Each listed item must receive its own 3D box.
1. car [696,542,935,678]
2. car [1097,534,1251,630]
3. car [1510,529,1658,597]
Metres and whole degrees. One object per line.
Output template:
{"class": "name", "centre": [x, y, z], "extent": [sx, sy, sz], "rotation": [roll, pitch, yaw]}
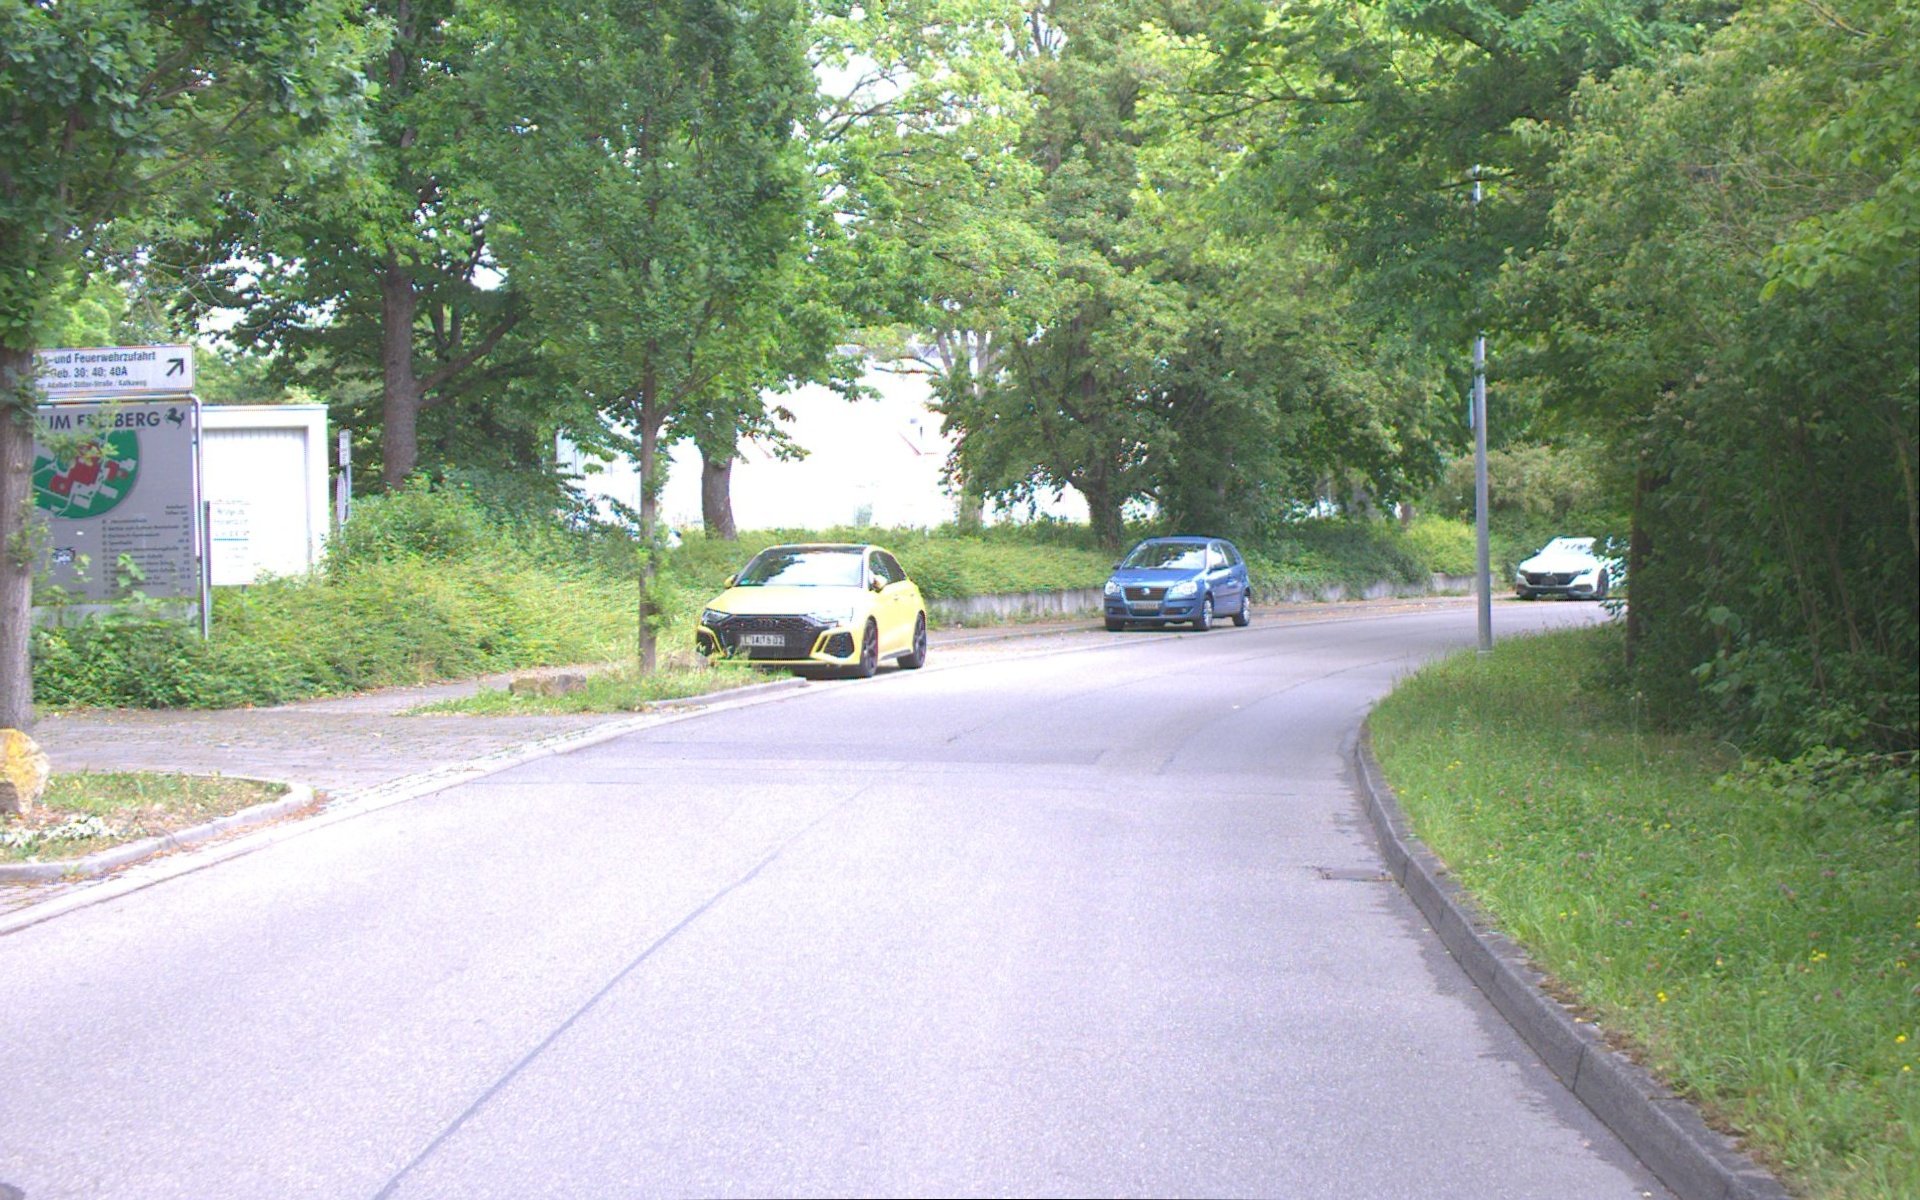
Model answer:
{"class": "car", "centre": [-1.517, 0.075, 37.662], "extent": [1.701, 1.398, 4.271], "rotation": [0, 1, 11]}
{"class": "car", "centre": [3.447, -0.307, 54.814], "extent": [1.535, 1.454, 3.717], "rotation": [0, 1, 19]}
{"class": "car", "centre": [13.692, -0.829, 75.276], "extent": [1.817, 1.419, 4.353], "rotation": [1, 1, 30]}
